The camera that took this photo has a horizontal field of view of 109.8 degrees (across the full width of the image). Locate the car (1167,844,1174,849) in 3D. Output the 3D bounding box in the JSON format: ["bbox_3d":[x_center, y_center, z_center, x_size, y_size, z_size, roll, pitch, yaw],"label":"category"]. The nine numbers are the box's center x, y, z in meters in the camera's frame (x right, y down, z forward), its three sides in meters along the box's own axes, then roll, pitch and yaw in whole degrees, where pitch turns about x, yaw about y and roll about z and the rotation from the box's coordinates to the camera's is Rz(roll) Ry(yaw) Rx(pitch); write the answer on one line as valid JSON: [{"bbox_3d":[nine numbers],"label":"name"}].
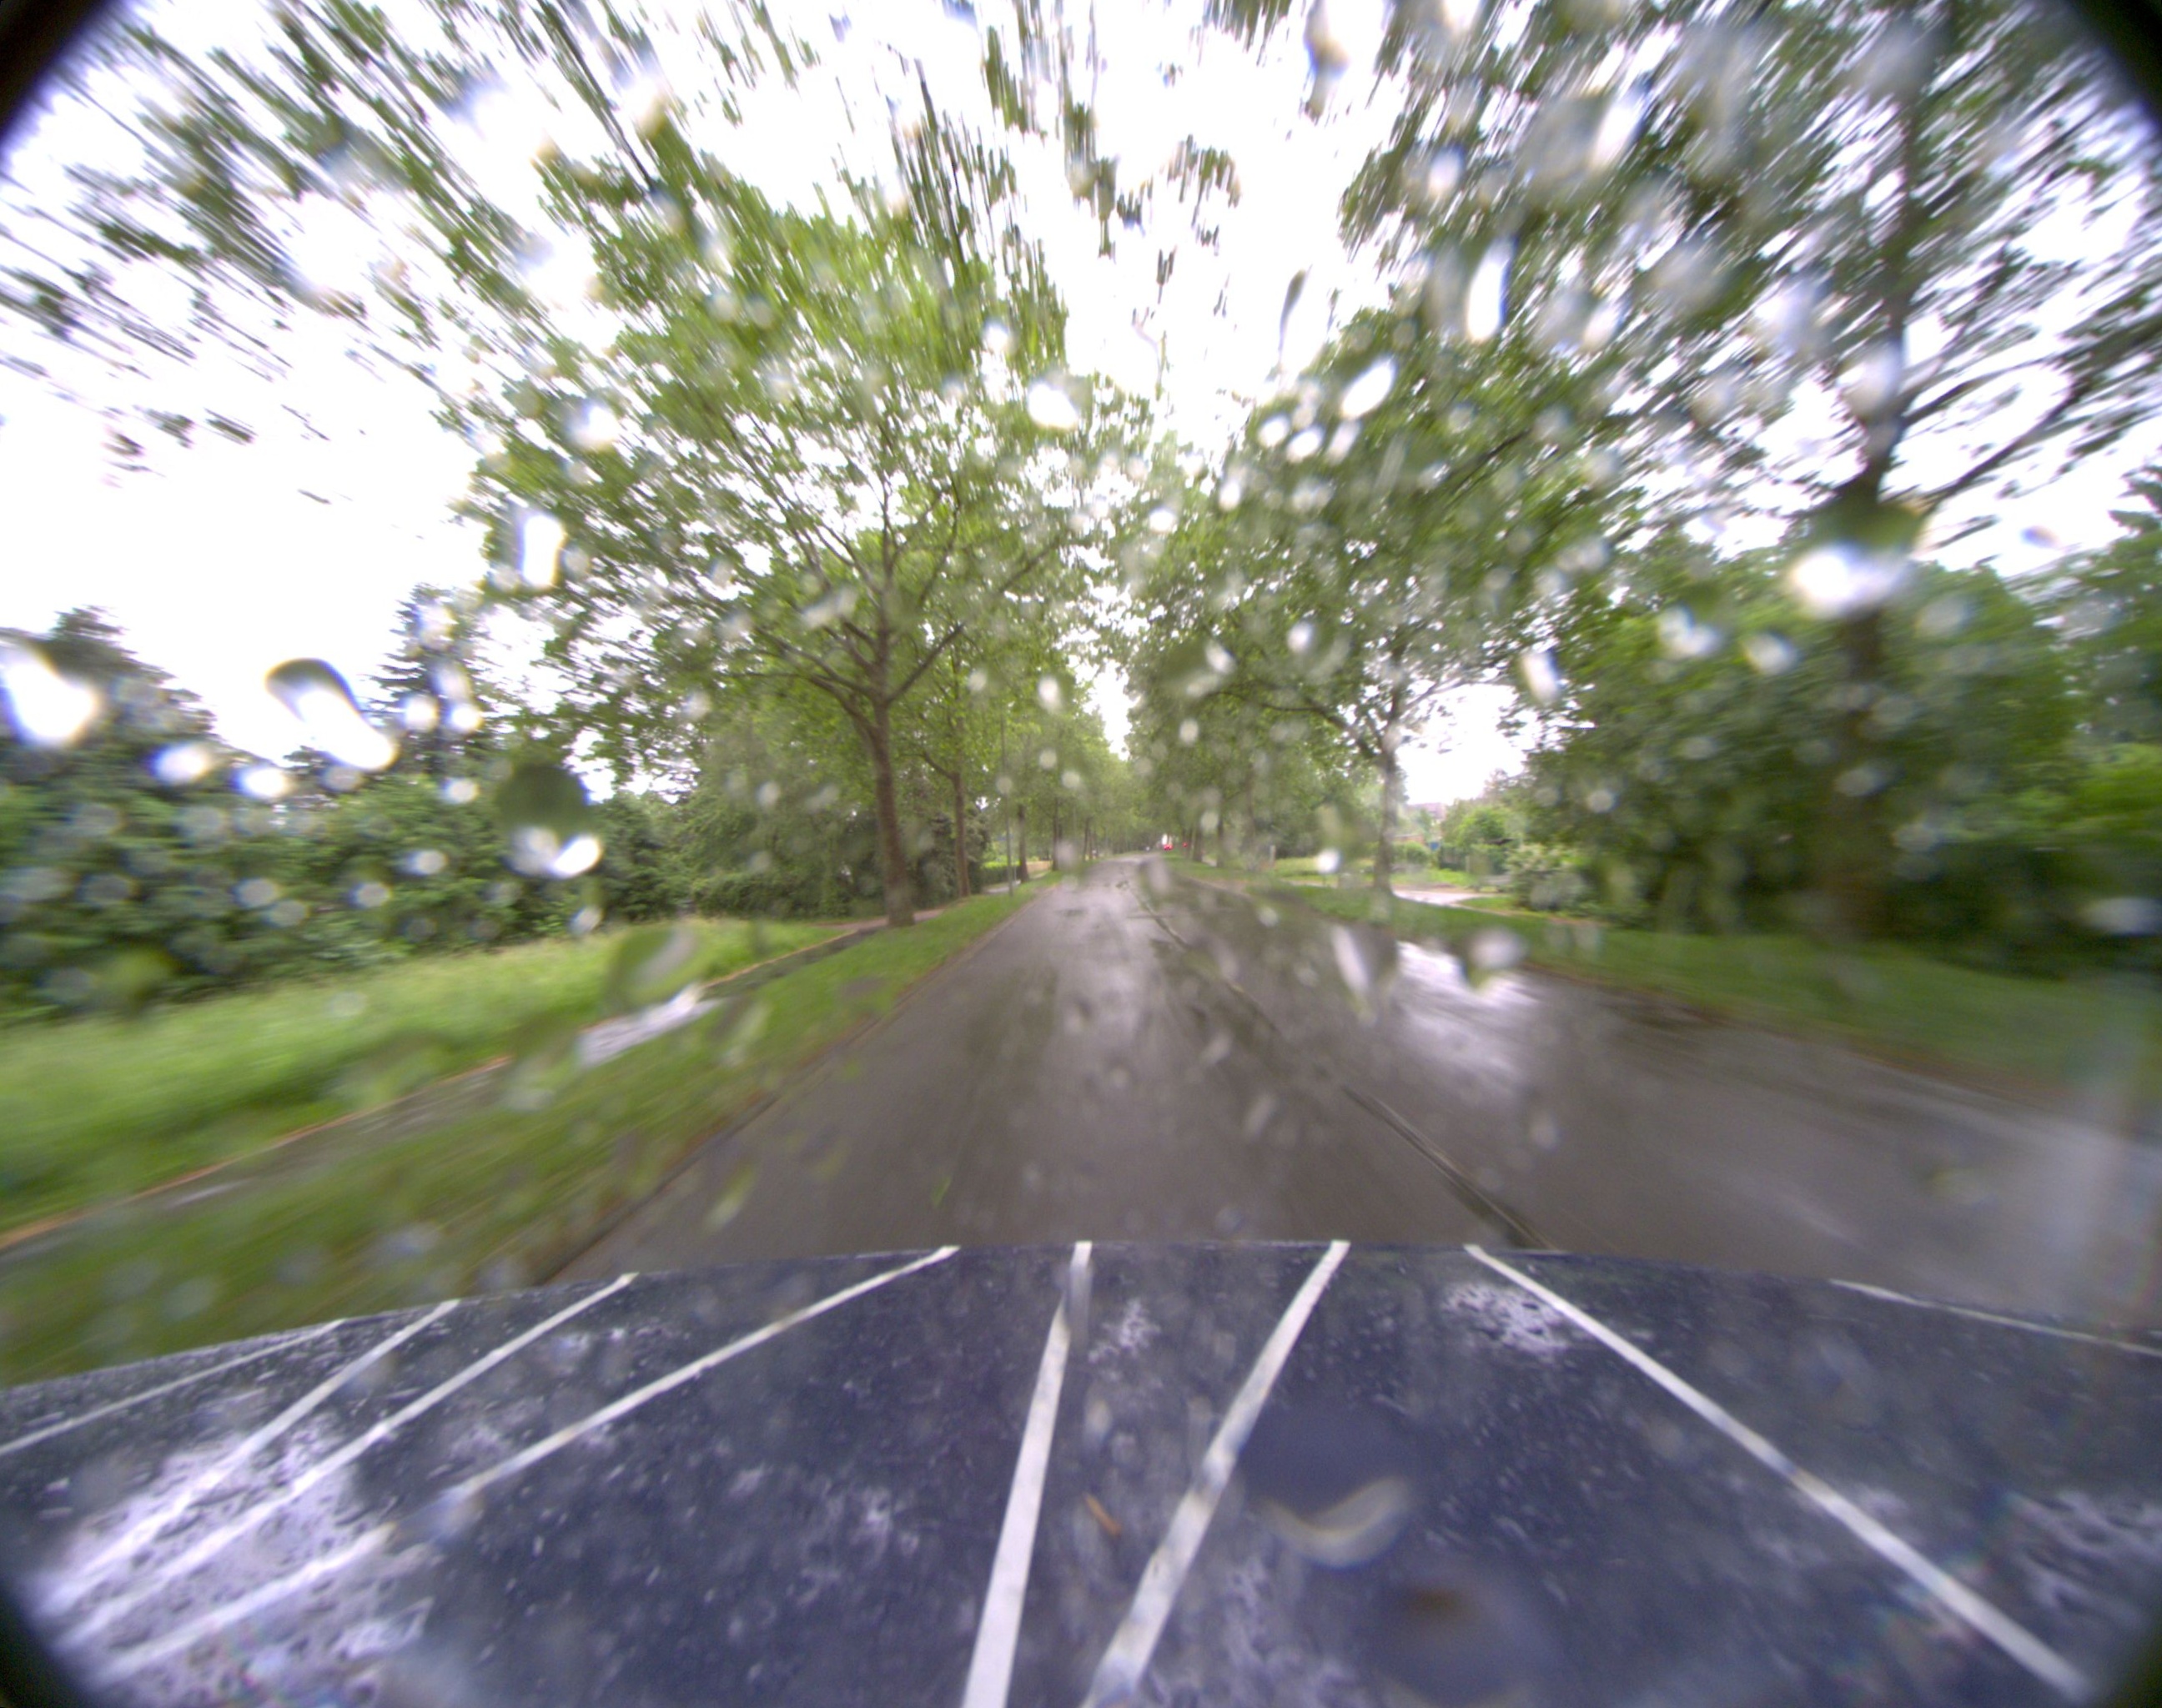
[{"bbox_3d":[24.984,-2.158,212.761,1.593,1.445,3.373,-2,1,3],"label":"car"}]

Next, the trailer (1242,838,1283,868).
[{"bbox_3d":[17.554,-0.171,73.827,2.804,2.648,6.653,-2,1,5],"label":"trailer"}]

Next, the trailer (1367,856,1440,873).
[{"bbox_3d":[23.548,0.779,55.553,4.326,1.026,2.382,-2,1,2],"label":"trailer"}]

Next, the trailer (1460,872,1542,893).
[{"bbox_3d":[20.261,1.384,36.767,3.035,0.833,1.678,-2,2,6],"label":"trailer"}]

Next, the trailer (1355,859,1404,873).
[{"bbox_3d":[23.094,0.951,58.860,3.082,0.939,1.769,-2,1,3],"label":"trailer"}]
